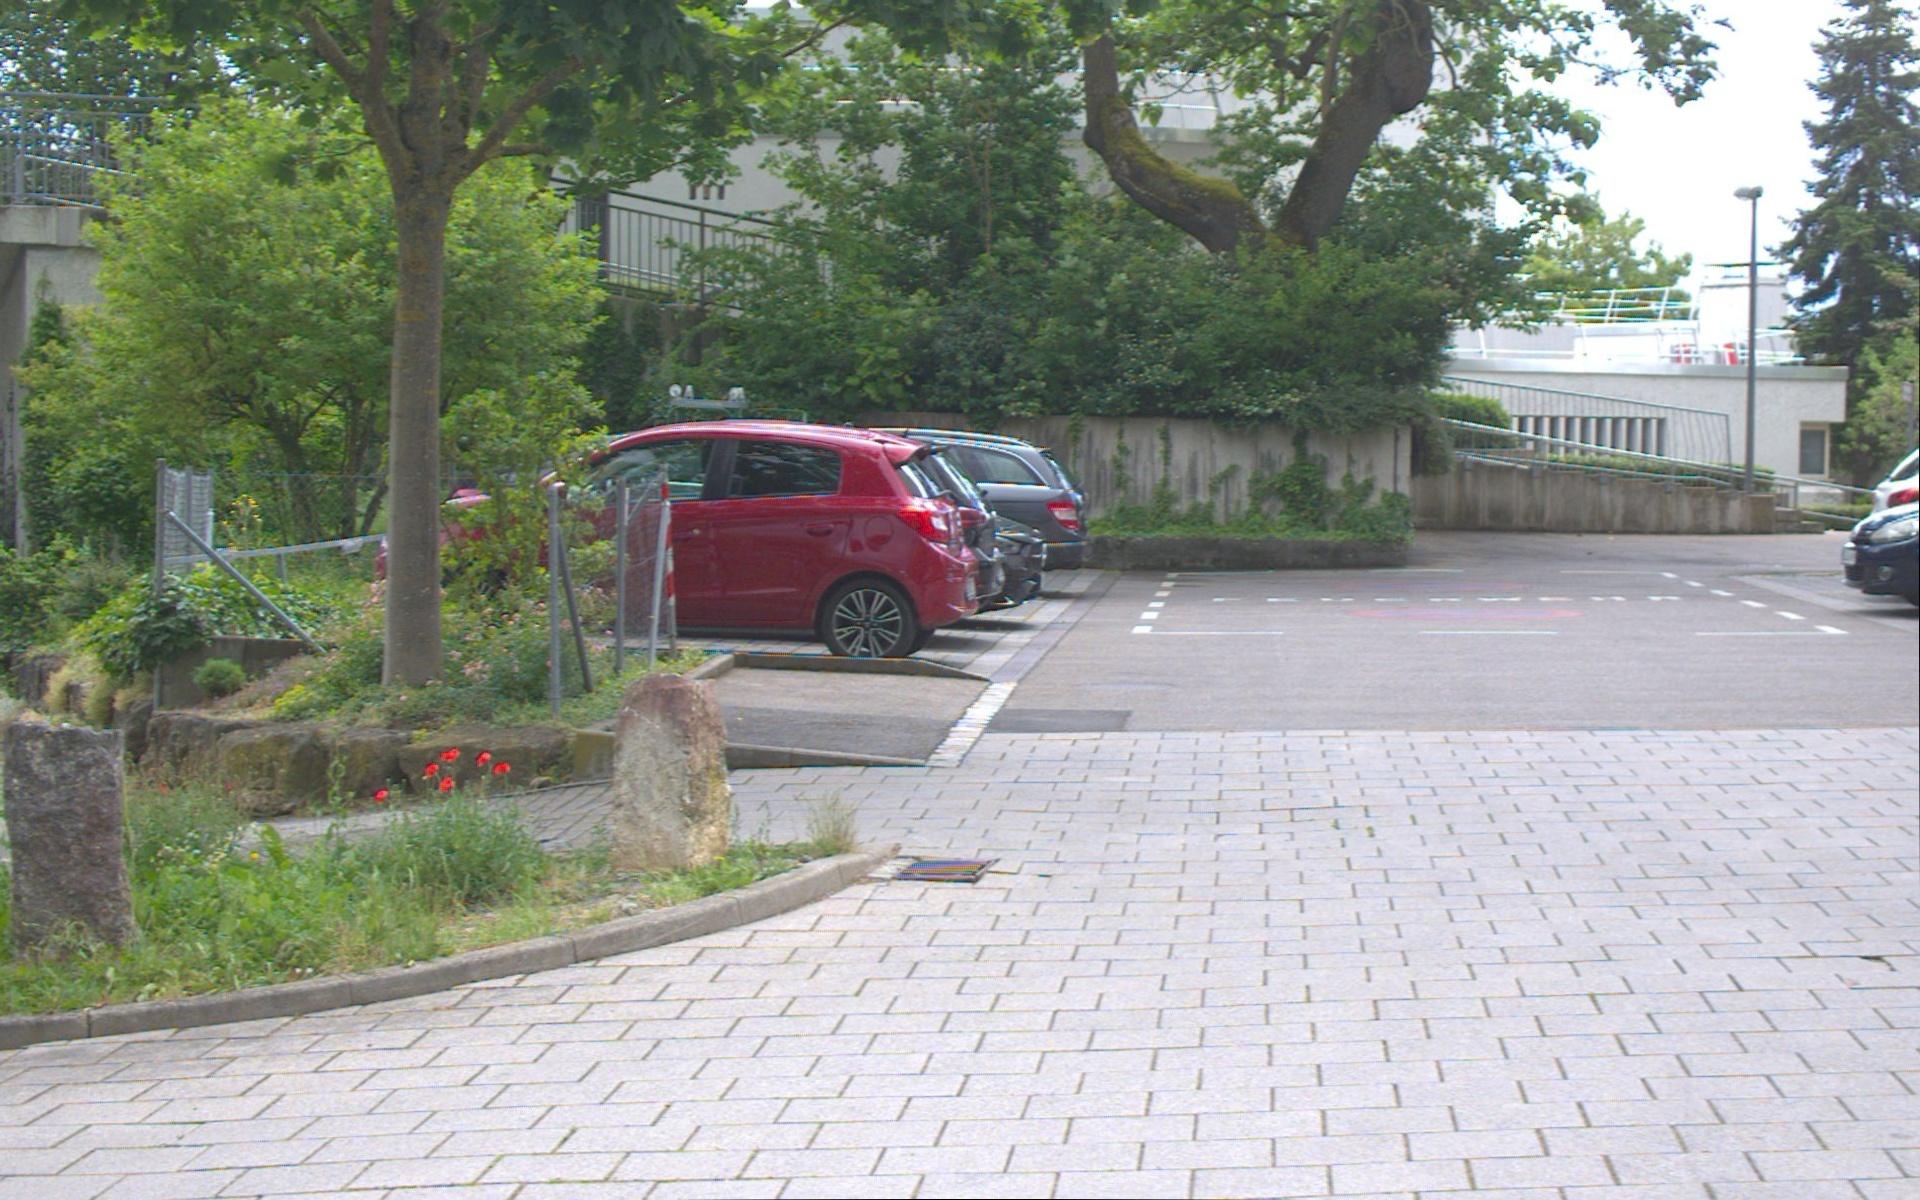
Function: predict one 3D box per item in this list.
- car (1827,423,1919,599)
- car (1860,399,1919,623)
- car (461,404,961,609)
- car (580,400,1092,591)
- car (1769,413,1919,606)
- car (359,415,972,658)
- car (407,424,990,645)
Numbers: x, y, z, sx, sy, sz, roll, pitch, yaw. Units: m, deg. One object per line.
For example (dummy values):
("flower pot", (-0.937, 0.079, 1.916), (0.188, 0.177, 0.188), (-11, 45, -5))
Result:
("car", (9.763, -0.763, 30.153), (3.982, 1.512, 1.756), (1, 1, 7))
("car", (8.869, -0.632, 25.129), (4.119, 1.588, 1.693), (0, 1, 0))
("car", (-2.002, -0.771, 28.487), (3.987, 1.608, 1.945), (0, 1, 0))
("car", (-1.113, -0.952, 31.559), (4.543, 1.662, 1.945), (0, 1, 0))
("car", (8.708, -0.714, 27.769), (4.042, 1.512, 1.755), (1, 1, 7))
("car", (-1.780, -0.401, 21.586), (3.650, 1.434, 1.684), (1, 1, 2))
("car", (-1.715, -0.453, 23.411), (3.787, 1.417, 1.684), (1, 1, 2))
